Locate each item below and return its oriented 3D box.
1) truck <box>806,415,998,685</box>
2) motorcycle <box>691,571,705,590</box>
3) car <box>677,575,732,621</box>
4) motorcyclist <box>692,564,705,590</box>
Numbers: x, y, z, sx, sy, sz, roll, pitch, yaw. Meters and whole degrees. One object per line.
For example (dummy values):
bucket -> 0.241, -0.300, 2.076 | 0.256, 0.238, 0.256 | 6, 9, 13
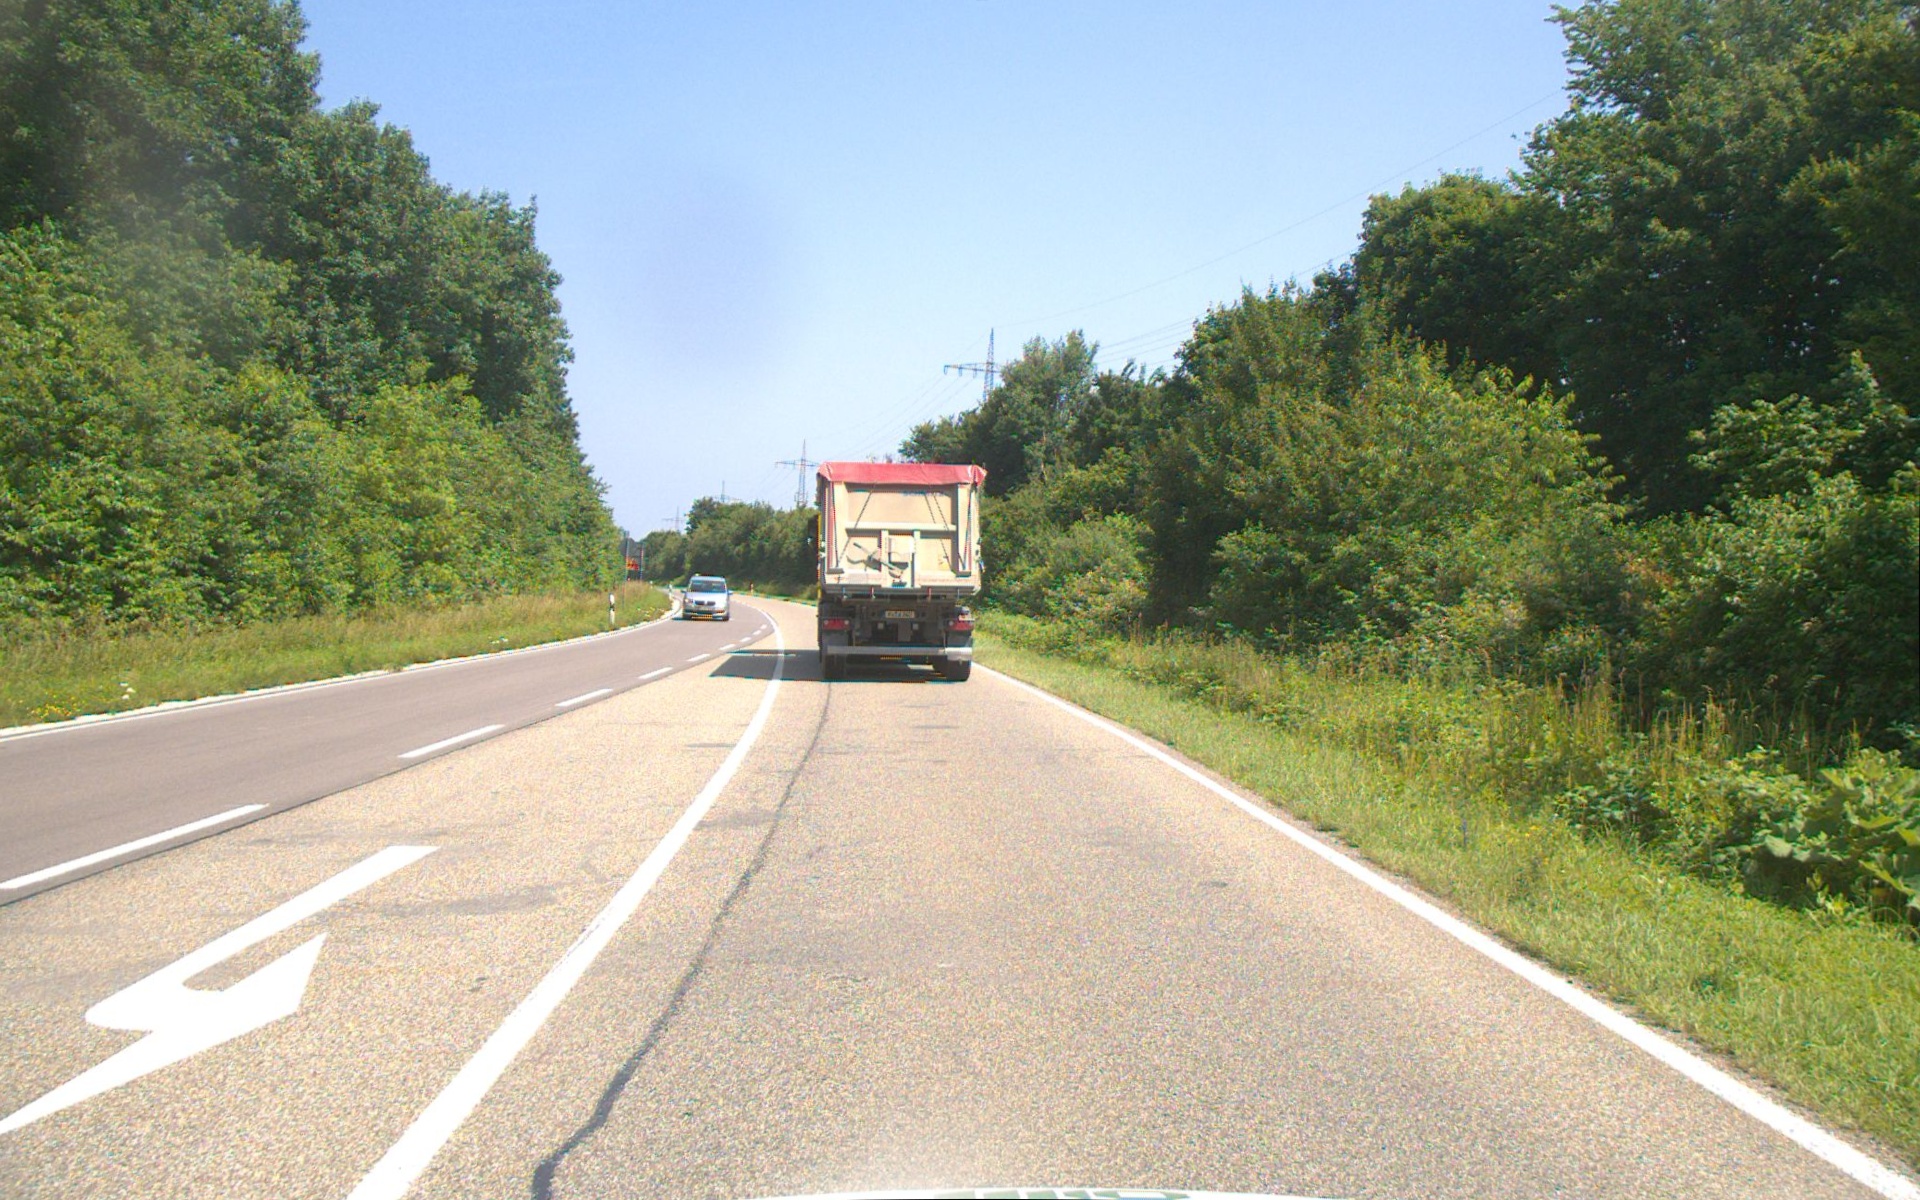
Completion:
truck -> -1.401, -0.838, 31.108 | 2.837, 4.031, 11.920 | 1, 1, -5
motorcycle -> -18.156, -1.370, 114.648 | 0.929, 1.272, 2.677 | 1, 1, -8
car -> -9.822, -0.098, 63.714 | 1.767, 1.665, 4.208 | 1, 0, -5
motorcyclist -> -18.171, -1.629, 114.970 | 0.815, 1.782, 0.622 | 1, 0, -9
